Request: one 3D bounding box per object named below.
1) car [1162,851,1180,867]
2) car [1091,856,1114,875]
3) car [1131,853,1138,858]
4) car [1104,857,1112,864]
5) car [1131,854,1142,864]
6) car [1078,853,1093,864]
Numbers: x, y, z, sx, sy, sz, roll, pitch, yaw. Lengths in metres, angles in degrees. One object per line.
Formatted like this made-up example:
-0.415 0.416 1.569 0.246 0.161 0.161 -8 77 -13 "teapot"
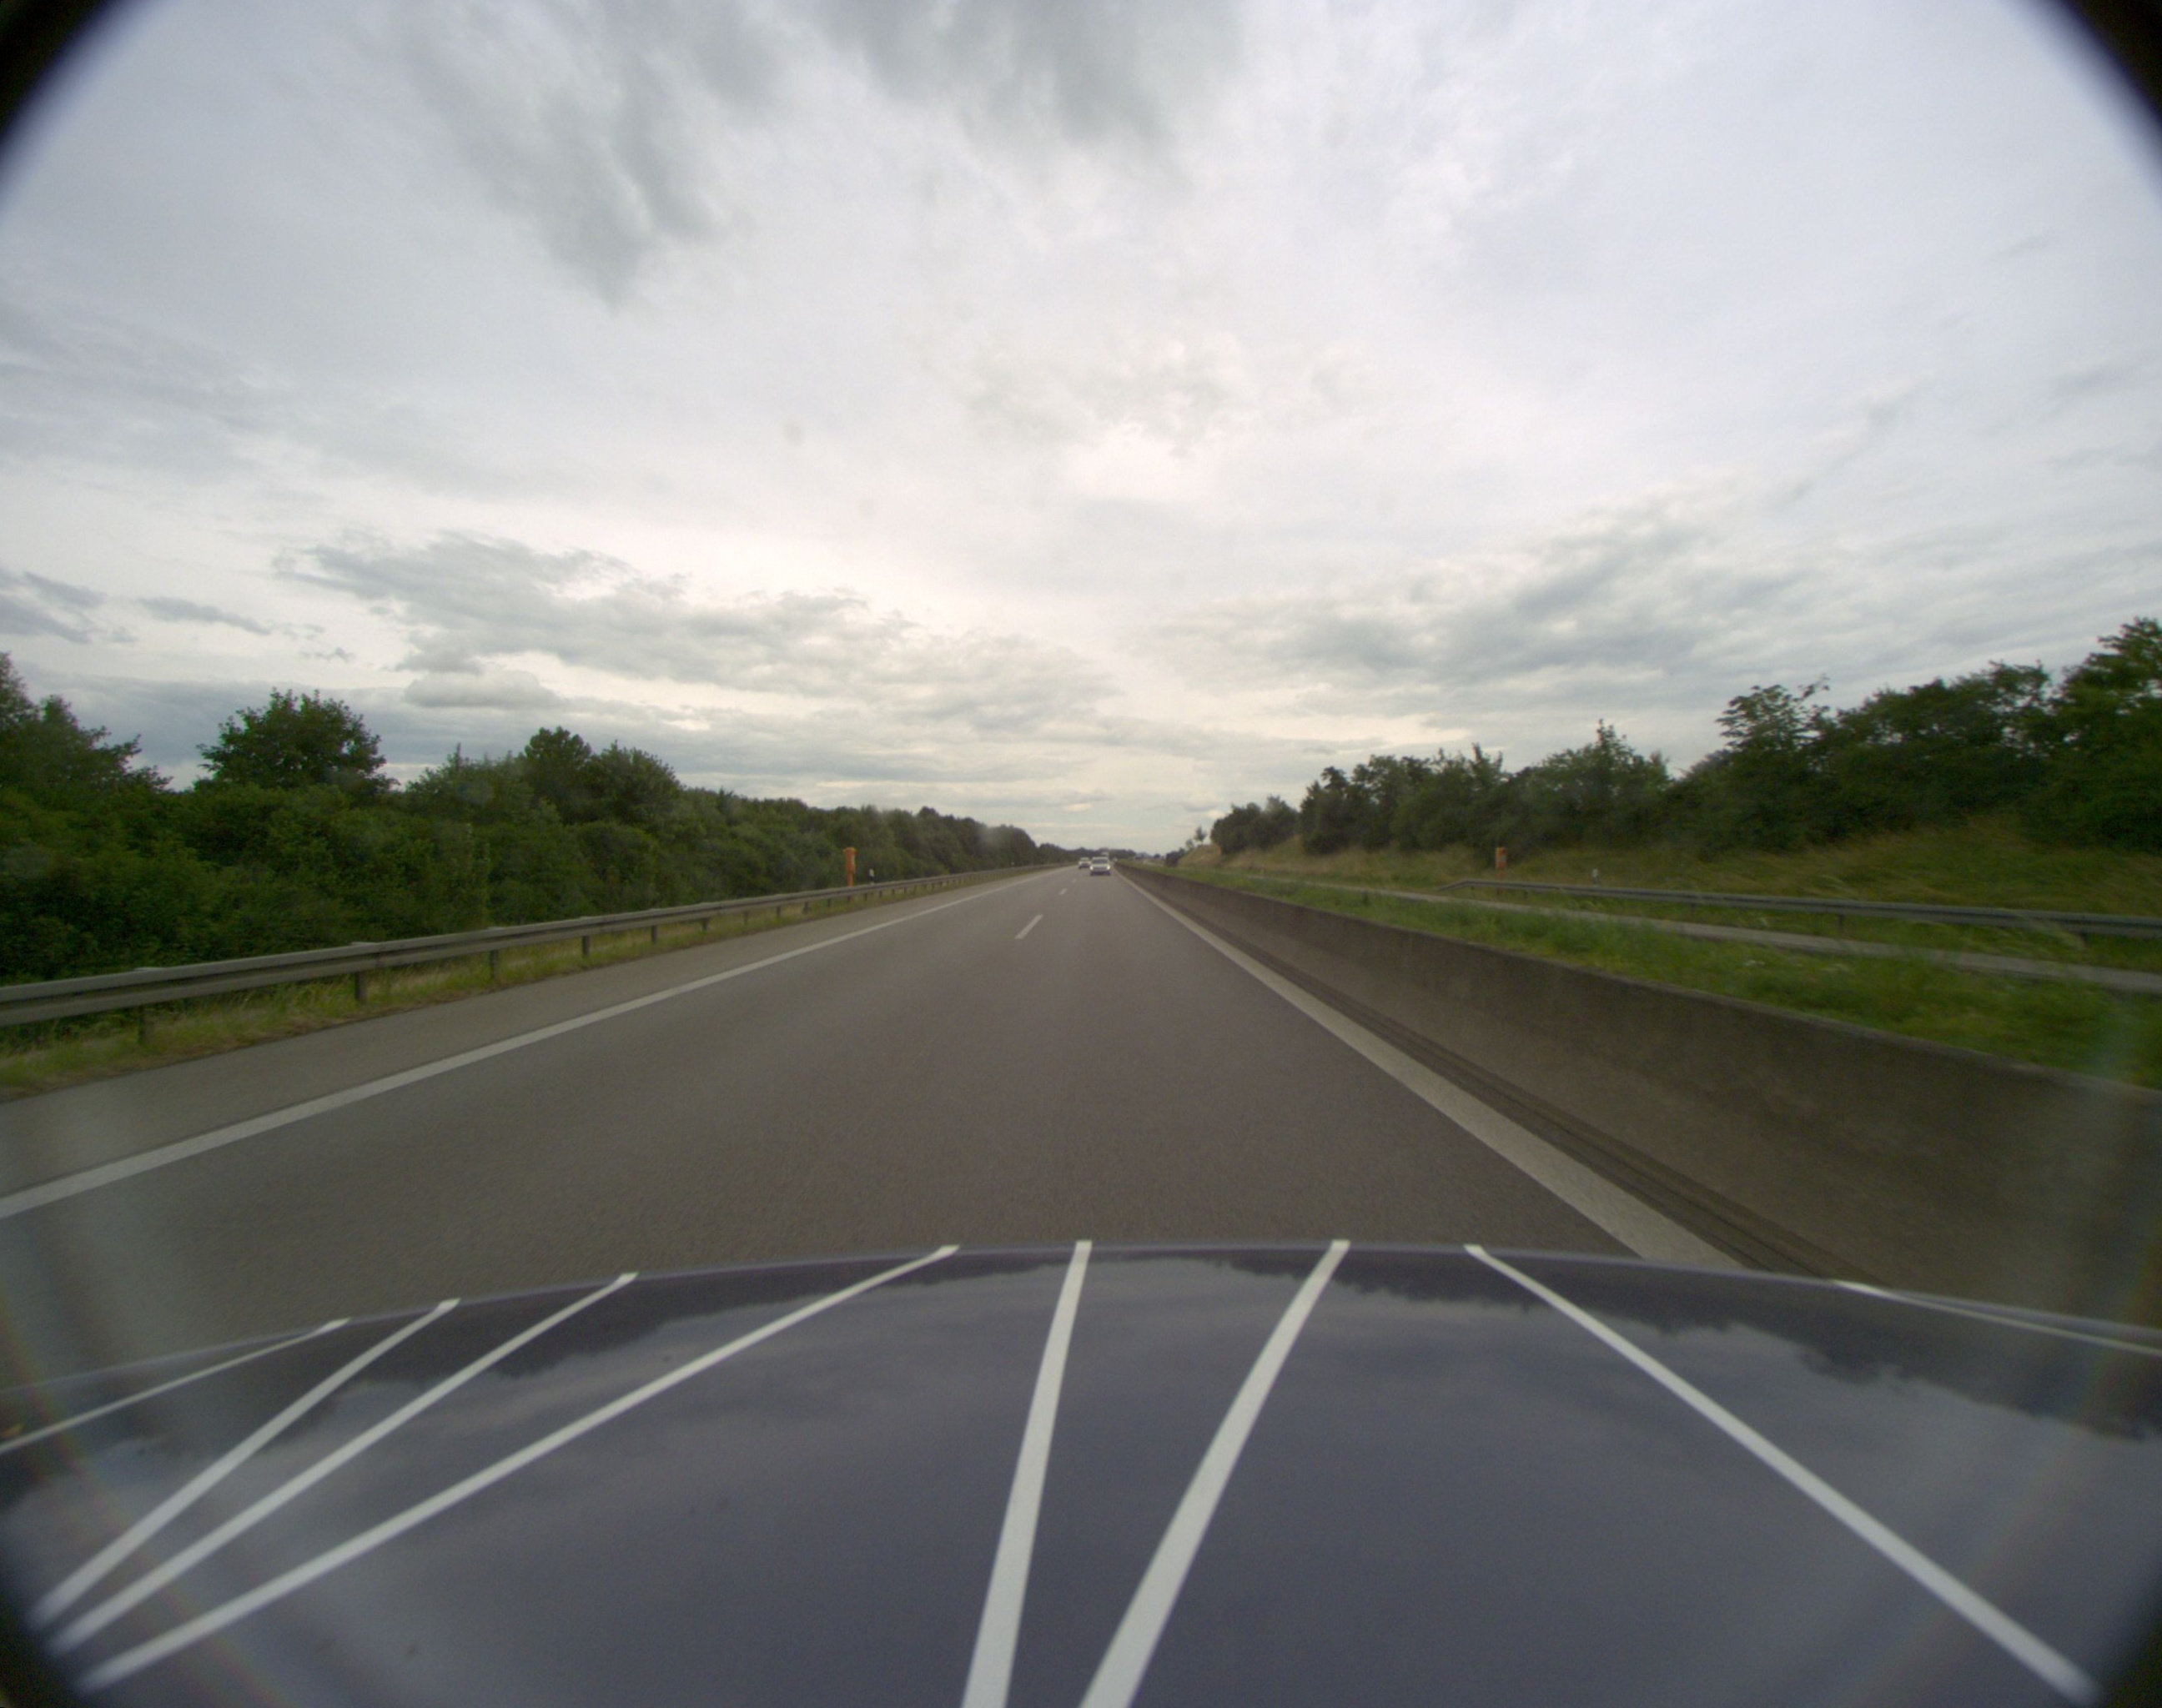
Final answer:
14.440 0.806 122.494 2.175 2.450 6.723 1 0 1 "car"
1.894 1.017 67.597 1.916 1.553 4.288 -1 0 0 "car"
17.725 0.483 252.057 1.785 1.674 4.000 -2 0 1 "car"
6.694 1.630 188.973 1.915 1.553 4.289 -1 0 4 "car"
11.135 1.028 152.826 1.984 2.002 5.130 -1 0 1 "car"
0.723 0.611 113.558 1.915 1.553 4.289 -1 0 4 "car"
